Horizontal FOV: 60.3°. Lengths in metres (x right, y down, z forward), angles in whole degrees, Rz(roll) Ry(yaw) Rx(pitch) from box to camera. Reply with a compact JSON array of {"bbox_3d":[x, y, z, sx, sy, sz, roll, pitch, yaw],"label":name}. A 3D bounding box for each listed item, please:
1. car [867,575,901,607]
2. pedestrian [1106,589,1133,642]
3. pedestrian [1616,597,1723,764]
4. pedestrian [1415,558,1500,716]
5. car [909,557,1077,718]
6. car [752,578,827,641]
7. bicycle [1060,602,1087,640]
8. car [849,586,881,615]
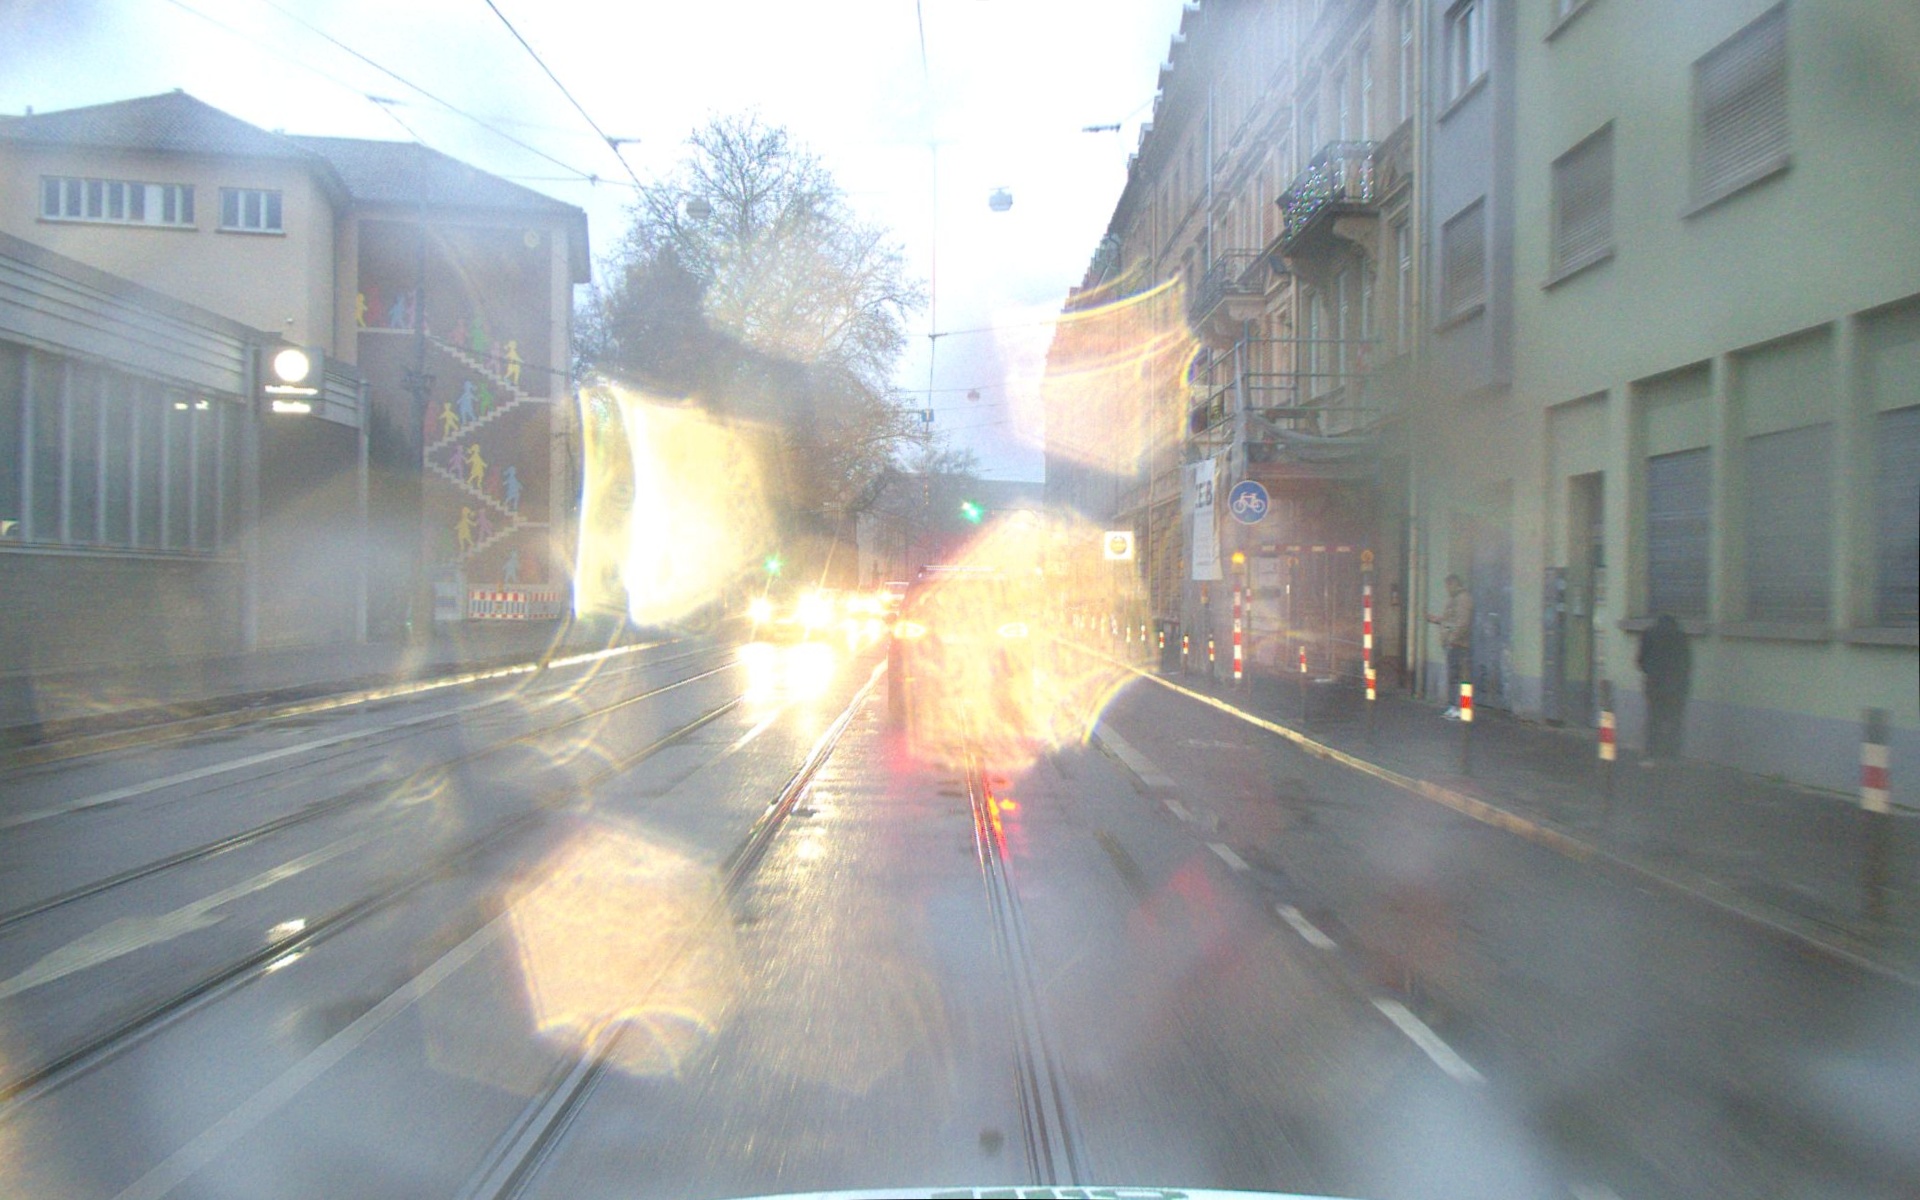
[{"bbox_3d":[-5.781,-0.626,126.463,2.396,2.388,5.844,0,0,0],"label":"car"},{"bbox_3d":[5.294,0.513,54.900,0.817,1.731,0.954,1,0,8],"label":"pedestrian"},{"bbox_3d":[6.136,0.678,14.323,0.588,1.401,0.728,1,0,-1],"label":"pedestrian"},{"bbox_3d":[5.995,0.438,19.953,0.592,1.850,0.769,1,-1,-28],"label":"pedestrian"},{"bbox_3d":[0.464,0.438,21.475,1.952,1.874,4.001,1,0,2],"label":"car"},{"bbox_3d":[-4.997,0.252,48.983,1.837,1.739,4.759,0,0,-1],"label":"car"},{"bbox_3d":[3.648,0.668,53.297,0.670,1.176,2.188,1,0,0],"label":"bicycle"},{"bbox_3d":[-5.039,-0.001,87.885,1.499,1.507,3.561,0,0,0],"label":"car"}]
